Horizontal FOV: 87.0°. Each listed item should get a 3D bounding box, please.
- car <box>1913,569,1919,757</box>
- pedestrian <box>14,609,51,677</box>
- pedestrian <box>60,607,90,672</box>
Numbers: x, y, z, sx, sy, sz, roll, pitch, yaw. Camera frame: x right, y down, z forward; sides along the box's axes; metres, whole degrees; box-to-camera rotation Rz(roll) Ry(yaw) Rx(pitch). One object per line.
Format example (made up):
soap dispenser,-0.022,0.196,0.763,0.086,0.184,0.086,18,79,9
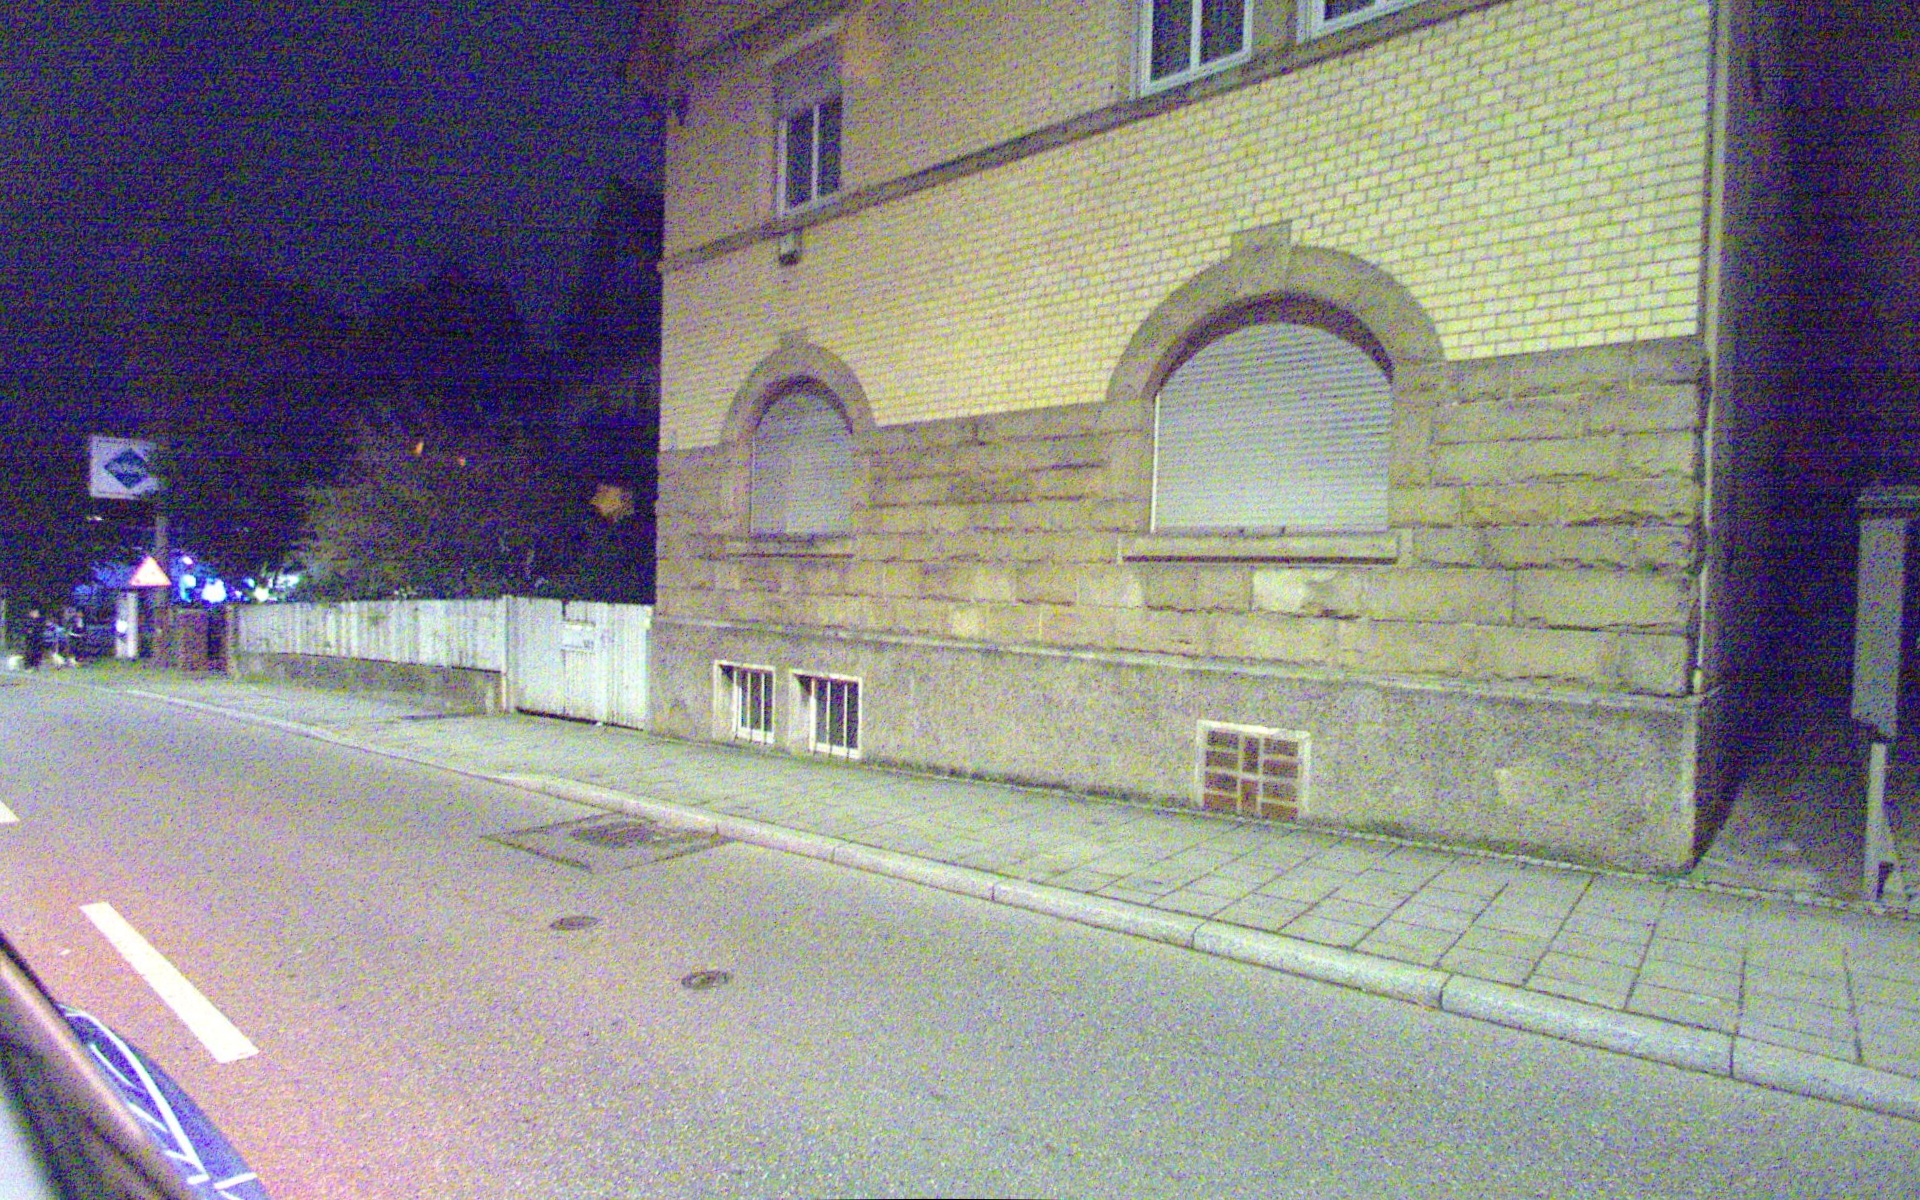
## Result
car,7.202,0.535,6.227,1.718,1.452,3.612,-1,2,40
pedestrian,-24.784,1.145,27.035,0.500,1.773,0.664,-1,0,41
pedestrian,-24.751,1.101,28.315,0.500,1.773,0.557,-1,0,41
